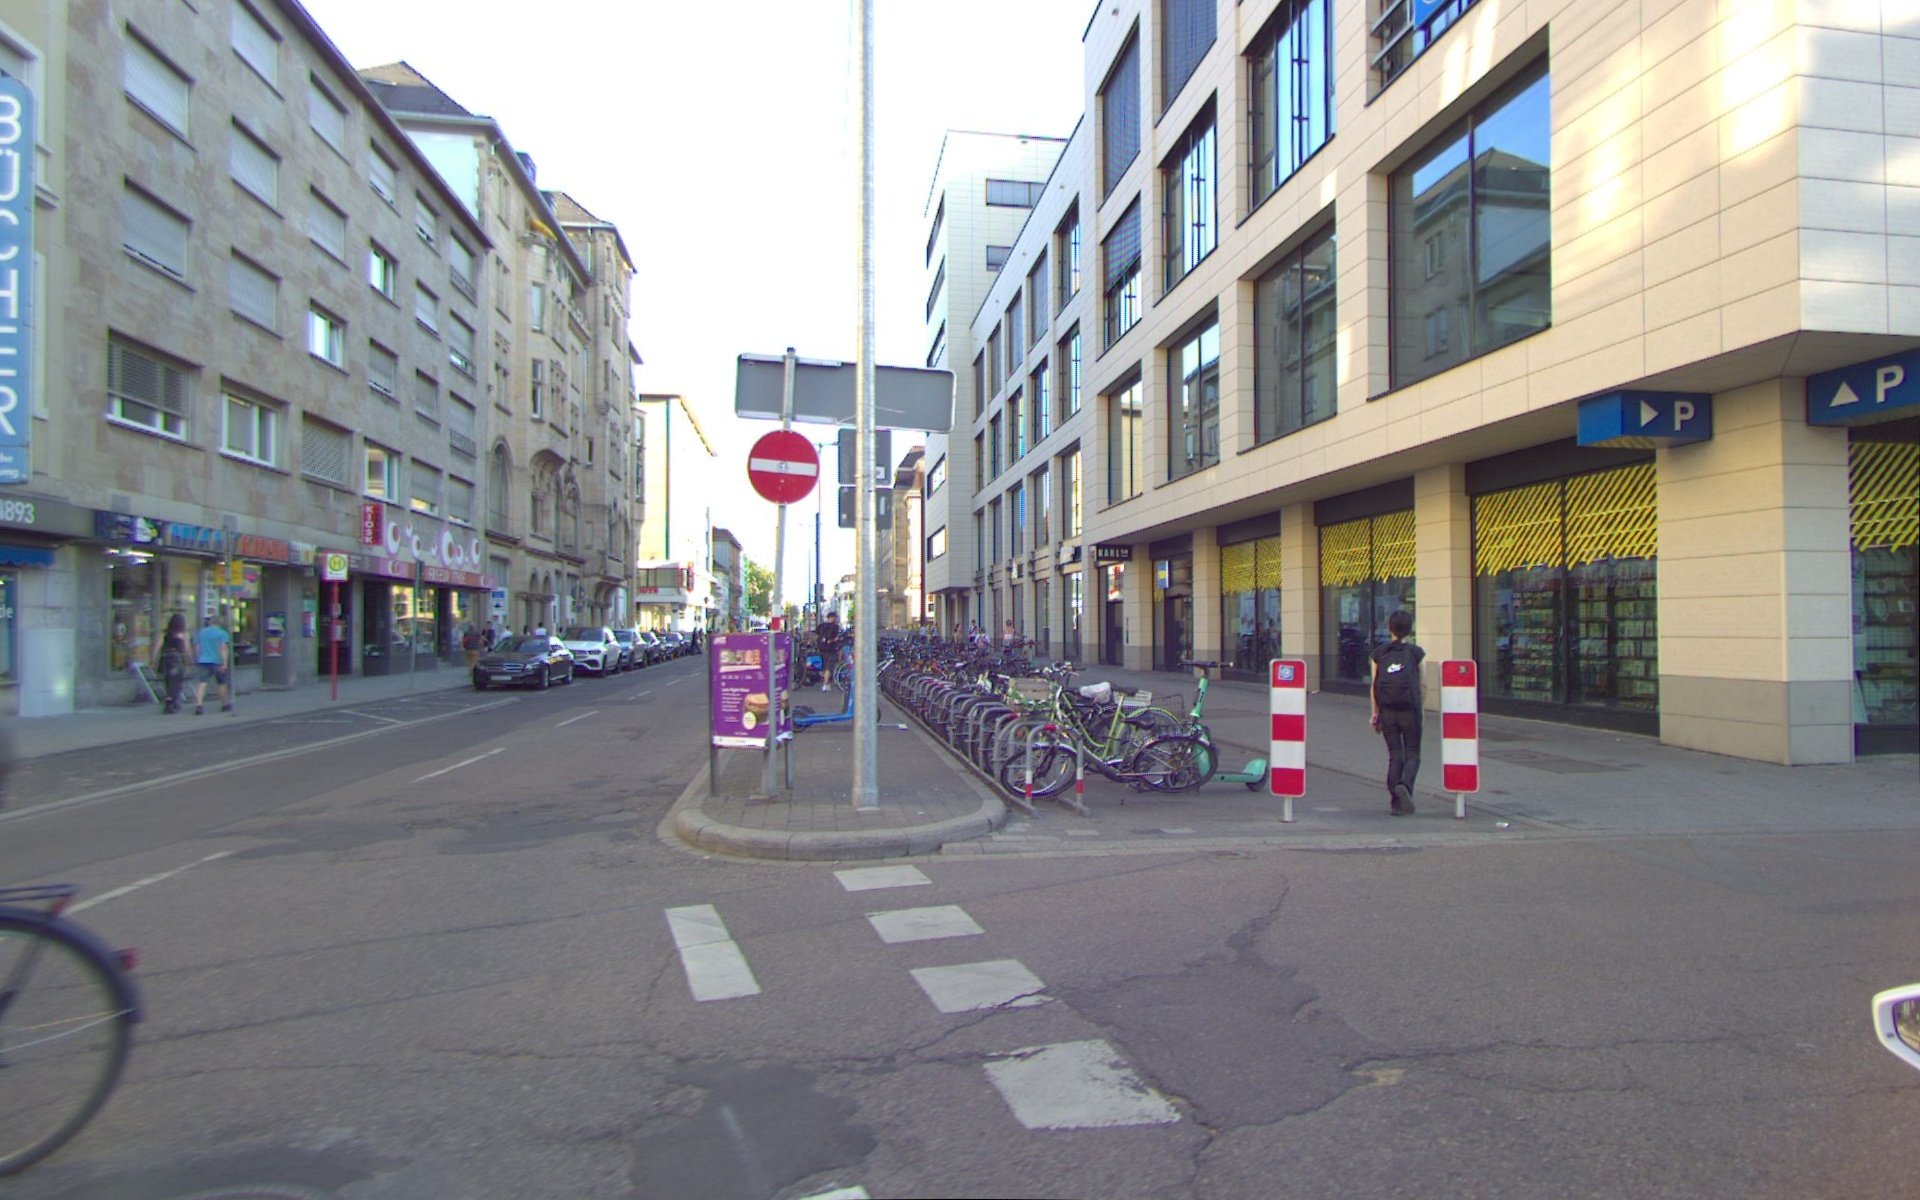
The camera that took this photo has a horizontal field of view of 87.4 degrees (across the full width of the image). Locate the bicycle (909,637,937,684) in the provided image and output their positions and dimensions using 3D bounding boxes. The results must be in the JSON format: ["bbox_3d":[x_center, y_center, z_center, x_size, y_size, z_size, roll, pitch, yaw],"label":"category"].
[{"bbox_3d":[-1.073,1.706,28.675,0.504,1.271,1.975,1,-1,-11],"label":"bicycle"}]

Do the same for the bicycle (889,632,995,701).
[{"bbox_3d":[-0.348,1.250,19.085,1.943,1.271,0.512,1,-1,-11],"label":"bicycle"}]

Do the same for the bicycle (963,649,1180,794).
[{"bbox_3d":[1.035,1.105,9.370,1.945,1.271,0.512,1,-1,-13],"label":"bicycle"}]

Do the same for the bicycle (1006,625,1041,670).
[{"bbox_3d":[1.884,1.399,29.863,0.601,1.271,1.976,1,-1,-9],"label":"bicycle"}]

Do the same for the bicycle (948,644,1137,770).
[{"bbox_3d":[0.877,1.126,10.743,1.943,1.271,0.512,1,-1,-11],"label":"bicycle"}]

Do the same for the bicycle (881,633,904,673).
[{"bbox_3d":[-2.306,1.794,34.227,0.504,1.271,1.975,1,-1,-11],"label":"bicycle"}]

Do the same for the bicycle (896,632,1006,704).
[{"bbox_3d":[-0.173,1.240,18.363,1.943,1.271,0.512,1,-1,-11],"label":"bicycle"}]

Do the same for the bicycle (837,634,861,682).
[{"bbox_3d":[-3.136,1.606,28.302,0.504,1.271,1.975,1,-1,-11],"label":"bicycle"}]

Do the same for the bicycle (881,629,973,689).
[{"bbox_3d":[-0.733,1.292,21.924,1.943,1.271,0.512,1,-1,-11],"label":"bicycle"}]

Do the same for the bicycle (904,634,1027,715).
[{"bbox_3d":[0.080,1.211,16.424,1.943,1.271,0.512,1,-1,-11],"label":"bicycle"}]

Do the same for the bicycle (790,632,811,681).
[{"bbox_3d":[-4.415,1.531,27.747,0.504,1.271,1.975,1,-1,-11],"label":"bicycle"}]

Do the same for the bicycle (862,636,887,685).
[{"bbox_3d":[-2.428,1.688,28.401,0.504,1.271,1.975,1,-1,-11],"label":"bicycle"}]

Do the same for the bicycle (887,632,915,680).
[{"bbox_3d":[-1.688,1.577,28.532,0.504,1.271,1.975,1,-1,-11],"label":"bicycle"}]

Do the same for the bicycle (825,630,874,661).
[{"bbox_3d":[-4.574,1.884,41.647,1.947,1.271,0.511,1,-1,-18],"label":"bicycle"}]

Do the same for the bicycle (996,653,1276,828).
[{"bbox_3d":[1.390,1.073,8.008,2.104,1.271,0.664,1,-1,-13],"label":"bicycle"}]

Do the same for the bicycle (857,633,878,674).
[{"bbox_3d":[-3.146,1.803,34.212,0.504,1.271,1.975,1,0,-11],"label":"bicycle"}]

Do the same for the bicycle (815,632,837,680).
[{"bbox_3d":[-3.764,1.549,28.145,0.504,1.271,1.975,1,-1,-11],"label":"bicycle"}]

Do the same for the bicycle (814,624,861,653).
[{"bbox_3d":[-5.378,1.682,44.100,1.947,1.271,0.511,1,-1,-18],"label":"bicycle"}]

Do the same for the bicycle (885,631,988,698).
[{"bbox_3d":[-0.464,1.258,19.675,1.943,1.271,0.512,1,-1,-11],"label":"bicycle"}]

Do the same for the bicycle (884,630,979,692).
[{"bbox_3d":[-0.606,1.280,21.106,1.943,1.271,0.512,1,-1,-11],"label":"bicycle"}]

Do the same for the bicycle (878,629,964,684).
[{"bbox_3d":[-0.920,1.315,23.437,1.943,1.271,0.512,1,-1,-11],"label":"bicycle"}]

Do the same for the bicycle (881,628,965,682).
[{"bbox_3d":[-0.895,1.329,24.246,1.943,1.271,0.512,1,-1,-11],"label":"bicycle"}]

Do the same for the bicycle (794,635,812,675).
[{"bbox_3d":[-5.243,1.810,33.427,0.504,1.271,1.975,1,-1,-11],"label":"bicycle"}]

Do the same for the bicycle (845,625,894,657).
[{"bbox_3d":[-3.675,1.647,40.782,1.943,1.271,0.512,1,-1,-11],"label":"bicycle"}]

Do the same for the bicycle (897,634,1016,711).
[{"bbox_3d":[-0.059,1.219,17.015,1.943,1.271,0.512,1,-1,-11],"label":"bicycle"}]

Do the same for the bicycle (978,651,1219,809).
[{"bbox_3d":[1.201,1.096,8.753,2.009,1.271,0.581,1,-1,-13],"label":"bicycle"}]

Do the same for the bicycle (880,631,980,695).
[{"bbox_3d":[-0.607,1.267,20.289,1.943,1.271,0.512,1,-1,-11],"label":"bicycle"}]

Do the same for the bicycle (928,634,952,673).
[{"bbox_3d":[-0.702,1.826,34.448,0.504,1.271,1.975,1,-1,-11],"label":"bicycle"}]

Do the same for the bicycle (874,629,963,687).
[{"bbox_3d":[-0.942,1.302,22.644,1.943,1.271,0.512,1,-1,-11],"label":"bicycle"}]

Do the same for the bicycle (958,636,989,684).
[{"bbox_3d":[0.371,1.691,28.713,0.504,1.271,1.975,1,-1,-11],"label":"bicycle"}]

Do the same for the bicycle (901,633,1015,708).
[{"bbox_3d":[-0.042,1.230,17.693,1.943,1.271,0.512,1,-1,-11],"label":"bicycle"}]

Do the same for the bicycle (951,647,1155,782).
[{"bbox_3d":[0.913,1.113,9.982,1.943,1.271,0.512,1,-1,-9],"label":"bicycle"}]

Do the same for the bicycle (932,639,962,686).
[{"bbox_3d":[-0.397,1.770,28.781,0.504,1.271,1.975,1,-1,-11],"label":"bicycle"}]

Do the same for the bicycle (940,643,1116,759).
[{"bbox_3d":[0.779,1.137,11.524,1.944,1.271,0.512,1,-1,-12],"label":"bicycle"}]

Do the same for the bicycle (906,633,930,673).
[{"bbox_3d":[-1.454,1.803,34.262,0.504,1.271,1.975,1,0,-11],"label":"bicycle"}]
